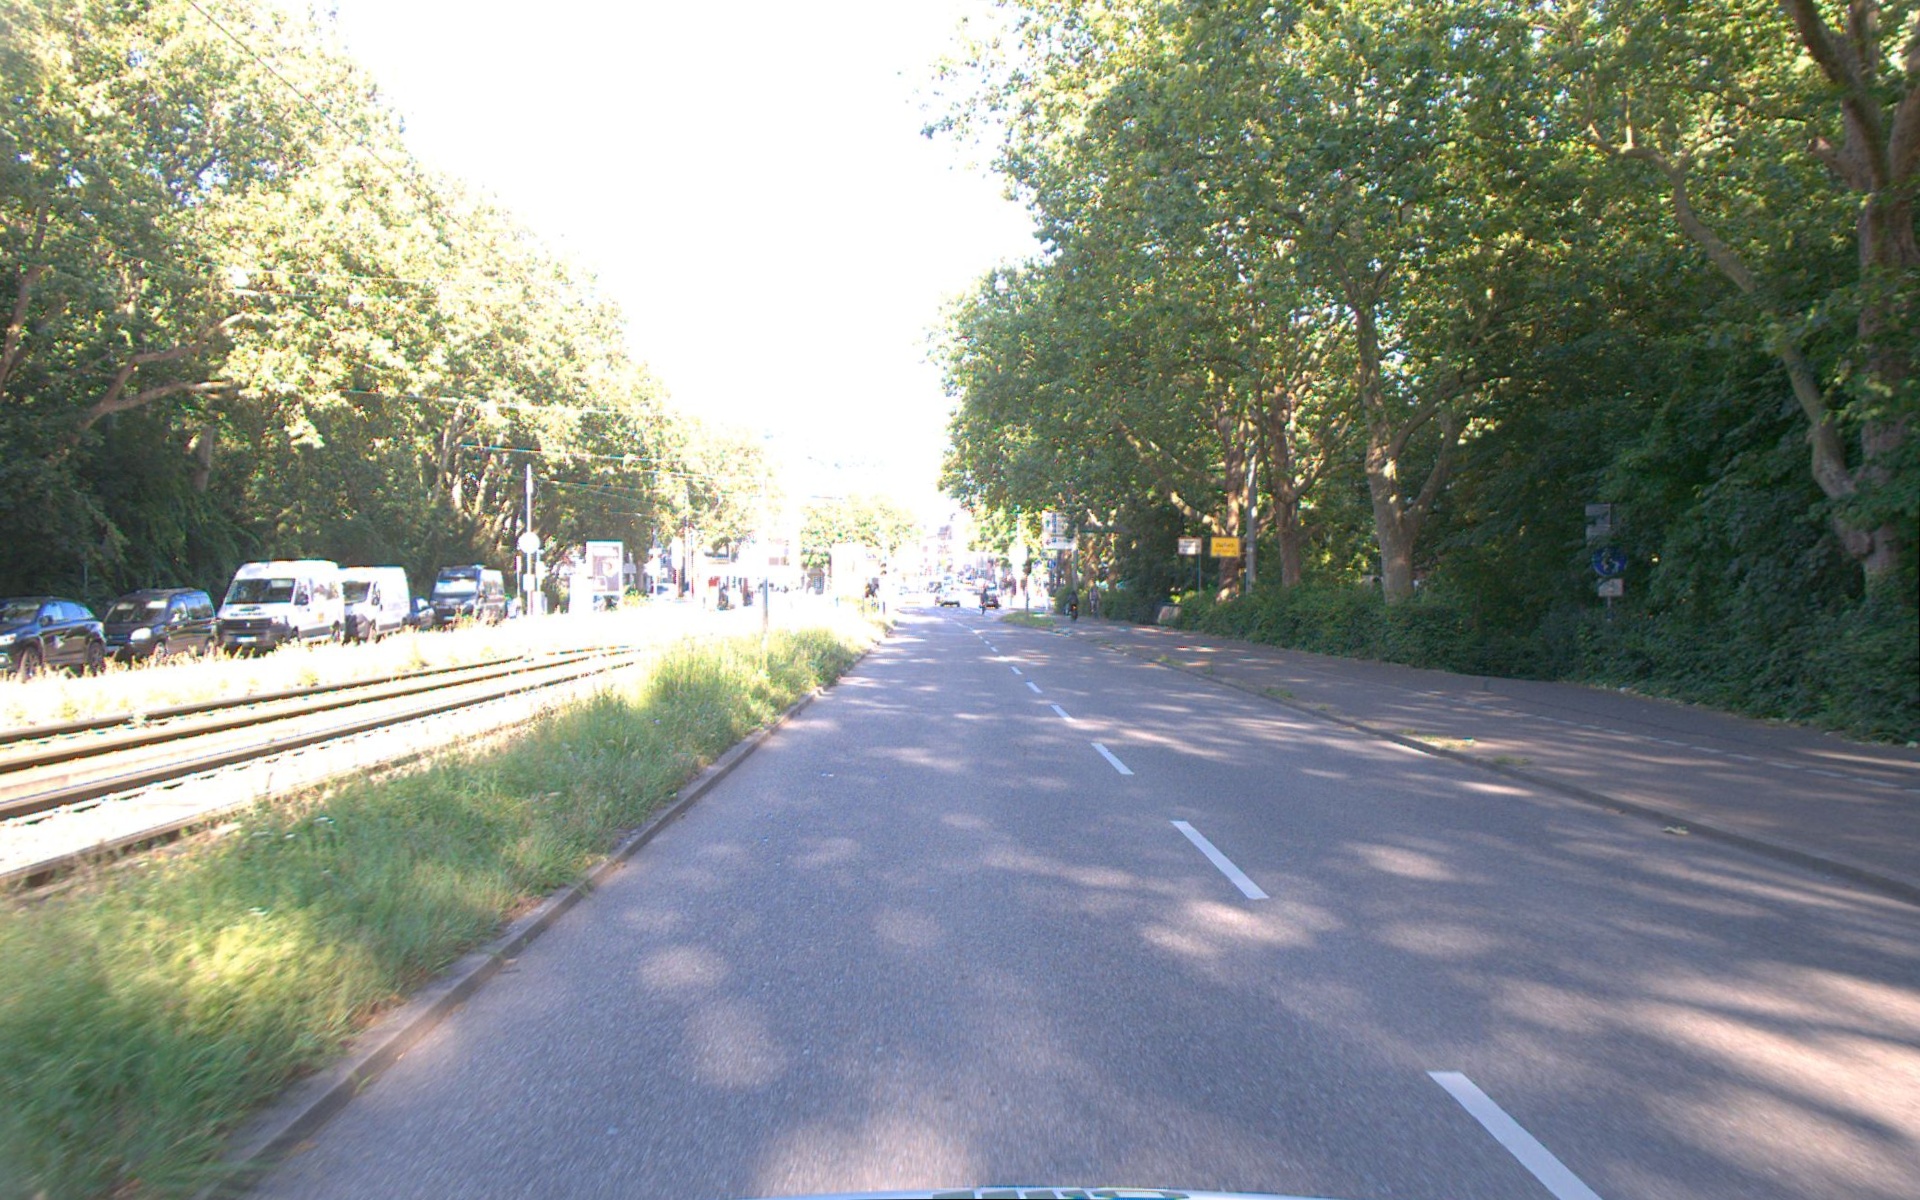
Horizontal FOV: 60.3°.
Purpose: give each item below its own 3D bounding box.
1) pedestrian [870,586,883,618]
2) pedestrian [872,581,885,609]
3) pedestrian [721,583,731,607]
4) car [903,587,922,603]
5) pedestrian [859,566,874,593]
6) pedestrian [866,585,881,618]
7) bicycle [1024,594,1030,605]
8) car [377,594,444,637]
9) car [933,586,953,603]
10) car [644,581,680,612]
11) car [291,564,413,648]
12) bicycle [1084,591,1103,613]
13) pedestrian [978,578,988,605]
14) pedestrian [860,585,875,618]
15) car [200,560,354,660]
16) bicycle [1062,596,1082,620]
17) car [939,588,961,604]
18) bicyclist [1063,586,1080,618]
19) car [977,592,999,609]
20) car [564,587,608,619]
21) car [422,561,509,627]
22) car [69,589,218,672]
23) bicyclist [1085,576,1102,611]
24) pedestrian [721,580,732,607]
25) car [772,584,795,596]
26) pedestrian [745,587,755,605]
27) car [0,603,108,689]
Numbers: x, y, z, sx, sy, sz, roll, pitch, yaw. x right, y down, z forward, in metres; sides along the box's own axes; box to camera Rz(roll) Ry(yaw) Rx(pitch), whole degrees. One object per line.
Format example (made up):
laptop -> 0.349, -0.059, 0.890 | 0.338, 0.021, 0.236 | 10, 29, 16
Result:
pedestrian -> -4.203, 0.102, 83.077 | 0.578, 1.546, 0.514 | -2, 0, -2
pedestrian -> -5.222, -0.313, 105.811 | 0.727, 1.724, 0.791 | 2, 0, -2
pedestrian -> -15.866, -0.328, 111.977 | 0.581, 1.571, 0.626 | 1, -1, -2
car -> -4.775, -0.513, 165.660 | 1.772, 1.478, 3.998 | 1, 0, -3
pedestrian -> -6.179, -1.379, 109.406 | 0.647, 1.752, 0.701 | 2, 0, -38
pedestrian -> -4.306, 0.069, 82.436 | 0.510, 1.595, 0.507 | -2, 0, 28
bicycle -> 6.781, -0.075, 167.474 | 0.488, 1.093, 1.799 | 1, 0, -2
car -> -20.426, 0.568, 61.570 | 1.620, 1.539, 3.262 | -2, 0, -5
car -> -1.717, -0.555, 164.076 | 1.764, 1.666, 4.043 | 1, 1, -3
car -> -21.947, -0.227, 122.054 | 2.026, 2.161, 5.086 | -2, 0, -4
car -> -19.895, 0.194, 54.436 | 2.141, 2.565, 6.264 | -2, 0, -5
bicycle -> 6.905, 0.092, 85.624 | 0.685, 1.127, 1.928 | 0, 0, -3
pedestrian -> 1.654, -0.590, 117.762 | 0.643, 1.903, 0.677 | 0, 0, -3
pedestrian -> -4.566, 0.060, 82.018 | 0.510, 1.595, 0.507 | -2, 0, 28
car -> -19.131, 0.266, 46.669 | 2.140, 2.565, 6.045 | -2, 0, -4
bicycle -> 5.428, 0.365, 80.112 | 0.751, 1.127, 1.799 | 0, 0, -3
car -> -0.985, -0.395, 156.654 | 1.890, 1.498, 4.852 | 1, 1, -2
bicyclist -> 5.422, 0.091, 80.115 | 0.751, 1.539, 0.650 | 0, 0, -3
car -> 2.538, 0.023, 151.881 | 1.764, 1.464, 4.043 | 2, 0, -3
car -> -20.970, 0.172, 92.820 | 1.866, 1.680, 3.968 | -2, 0, -5
car -> -20.709, -0.232, 69.542 | 2.140, 2.565, 6.028 | -2, 0, -4
car -> -18.853, 0.674, 38.360 | 1.705, 1.758, 3.879 | -2, 0, -4
bicyclist -> 6.908, -0.342, 85.625 | 0.685, 1.758, 1.079 | 0, 0, -4
pedestrian -> -15.910, -0.442, 112.592 | 0.635, 1.803, 0.650 | 1, -1, 0
car -> -25.874, -1.506, 242.785 | 1.881, 1.677, 4.182 | 0, 1, 18
pedestrian -> -16.325, -0.334, 128.425 | 0.656, 1.347, 0.756 | -2, 0, -4
car -> -18.341, 0.870, 32.183 | 1.705, 1.582, 3.879 | -2, 0, -4
